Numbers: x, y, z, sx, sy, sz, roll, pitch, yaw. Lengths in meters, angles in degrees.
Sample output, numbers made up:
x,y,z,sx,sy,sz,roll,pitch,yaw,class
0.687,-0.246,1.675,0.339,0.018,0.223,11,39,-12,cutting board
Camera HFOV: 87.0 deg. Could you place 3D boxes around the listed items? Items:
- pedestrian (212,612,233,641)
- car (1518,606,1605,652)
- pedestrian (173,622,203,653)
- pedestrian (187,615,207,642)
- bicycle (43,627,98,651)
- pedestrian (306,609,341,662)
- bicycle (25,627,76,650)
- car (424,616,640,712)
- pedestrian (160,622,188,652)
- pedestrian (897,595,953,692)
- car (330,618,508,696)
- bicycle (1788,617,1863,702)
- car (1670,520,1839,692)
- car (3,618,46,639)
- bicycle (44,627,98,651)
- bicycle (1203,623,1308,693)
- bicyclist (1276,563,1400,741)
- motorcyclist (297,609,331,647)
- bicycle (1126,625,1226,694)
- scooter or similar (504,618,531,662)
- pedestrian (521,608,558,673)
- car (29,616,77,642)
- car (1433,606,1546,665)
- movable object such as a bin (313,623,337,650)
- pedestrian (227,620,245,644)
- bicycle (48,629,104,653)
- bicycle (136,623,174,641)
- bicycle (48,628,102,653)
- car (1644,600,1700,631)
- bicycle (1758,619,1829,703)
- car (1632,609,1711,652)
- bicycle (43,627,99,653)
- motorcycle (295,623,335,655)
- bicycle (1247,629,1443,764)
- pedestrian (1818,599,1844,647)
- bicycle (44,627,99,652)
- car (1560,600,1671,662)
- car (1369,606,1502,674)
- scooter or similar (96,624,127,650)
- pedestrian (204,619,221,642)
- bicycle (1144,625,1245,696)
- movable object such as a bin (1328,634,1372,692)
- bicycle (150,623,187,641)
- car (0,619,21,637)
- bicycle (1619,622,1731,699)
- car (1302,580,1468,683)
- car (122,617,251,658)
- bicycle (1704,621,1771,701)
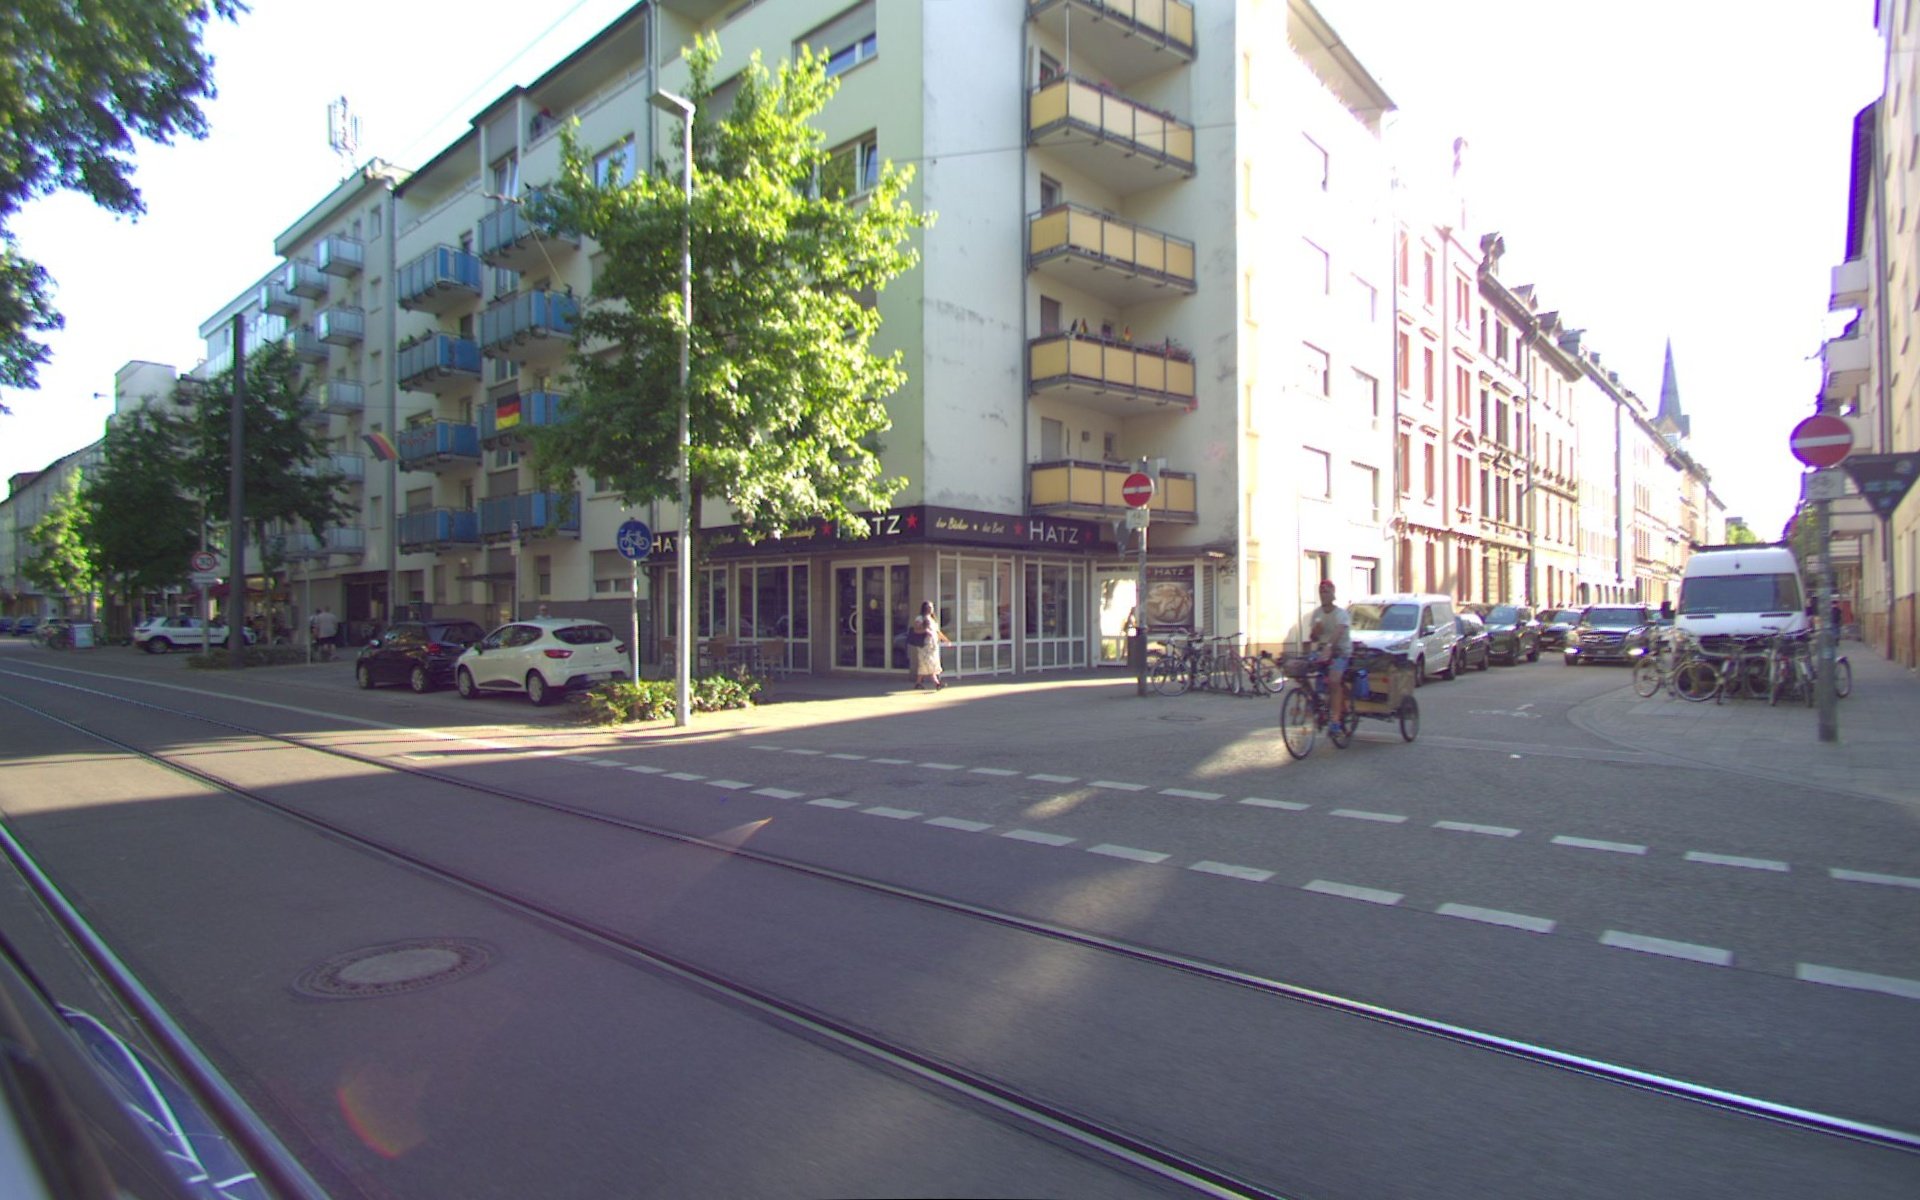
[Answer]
x,y,z,sx,sy,sz,roll,pitch,yaw,class
-42.549,1.522,58.358,0.747,1.672,0.760,-1,-2,34,pedestrian
21.359,0.990,35.895,2.028,1.511,3.905,-1,-1,40,car
-32.949,1.576,43.210,0.907,1.307,0.708,-1,-1,27,pedestrian
-44.632,1.636,59.210,0.767,1.568,0.718,-1,-2,36,pedestrian
-41.032,1.799,46.678,0.657,1.015,1.813,-1,0,36,bicycle
-20.868,1.148,33.174,0.794,1.704,0.756,-1,-1,40,pedestrian
-42.772,1.816,47.607,0.657,1.015,1.676,-1,0,36,bicycle
-7.963,1.087,18.675,4.370,1.475,1.697,-1,2,37,car
-34.054,1.587,43.826,0.744,1.307,0.708,-1,-1,27,pedestrian
-0.631,0.778,18.281,0.748,1.704,0.657,-1,-1,40,pedestrian
-11.583,1.149,21.606,3.990,1.475,1.699,-1,0,34,car
12.693,0.856,14.882,0.582,1.165,1.735,-1,-3,32,bicycle
14.988,0.125,19.091,2.168,2.744,5.750,-1,-1,39,car
-70.843,2.145,76.638,4.387,1.556,1.935,-1,-2,41,car
-41.304,1.801,47.039,0.657,1.015,1.813,-1,0,36,bicycle
5.169,1.005,17.666,1.917,1.165,0.574,2,-3,-29,bicycle
3.881,0.506,10.383,0.908,1.717,0.862,-1,-1,44,bicyclist
-24.856,1.076,38.950,1.016,1.451,0.864,-1,-2,42,motorcyclist
3.821,1.041,17.802,1.918,1.165,0.573,2,-3,-35,bicycle
-13.283,1.201,30.374,0.370,1.299,1.238,3,-3,-41,scooter or similar
-11.286,1.077,27.146,0.748,1.704,0.657,-1,-1,40,pedestrian
-61.658,1.956,68.765,4.355,1.663,1.859,-1,1,40,car
14.784,0.931,28.163,2.028,1.511,3.906,-1,-1,40,car
-25.946,1.491,41.335,0.622,1.063,0.670,-1,-2,43,movable object such as a bin
-36.894,1.644,51.558,0.558,1.207,0.511,0,-1,12,pedestrian
-39.716,1.831,45.483,0.657,1.015,1.813,-1,0,36,bicycle
-53.011,2.107,66.661,0.567,1.165,2.025,-1,-1,19,bicycle
-38.845,1.783,44.423,0.657,1.015,1.676,-1,0,36,bicycle
36.798,0.808,52.276,2.028,1.511,3.905,-1,-1,40,car
12.412,0.892,15.104,0.582,1.165,1.735,-1,-3,32,bicycle
26.960,1.122,38.296,2.029,1.511,3.904,-1,-1,41,car
-40.369,1.794,45.969,0.657,1.072,1.813,-1,0,36,bicycle
-24.806,1.481,38.915,1.915,1.173,0.840,-1,-2,43,motorcycle
4.103,0.927,10.614,0.921,1.165,2.764,-1,-1,44,bicycle
32.453,0.860,37.706,0.655,1.751,0.762,-1,-1,38,pedestrian
-40.569,1.795,46.227,0.657,1.015,1.813,-1,0,36,bicycle
17.488,0.794,26.922,2.028,1.511,3.906,-1,-1,40,car
11.601,0.906,24.579,2.027,1.511,3.906,-1,-1,39,car
-40.077,1.741,47.810,0.498,1.185,1.069,-1,0,39,scooter or similar
-40.033,1.622,54.186,0.560,1.207,0.509,-1,-1,25,pedestrian
4.063,1.029,17.464,1.918,1.165,0.573,2,-3,-35,bicycle
6.952,1.112,18.039,0.638,0.980,0.589,-1,-1,30,movable object such as a bin
-51.610,2.084,66.000,1.759,1.165,0.574,0,-1,-18,bicycle
-79.385,2.336,83.915,4.280,1.475,1.776,-1,-2,41,car
11.531,0.961,16.379,0.575,1.165,1.604,1,-2,-4,bicycle
8.817,0.597,20.734,2.035,1.836,4.830,-1,-1,37,car
-31.645,1.496,41.460,1.852,1.486,3.968,-1,0,43,car
11.961,0.925,15.560,1.728,1.165,0.585,3,-3,-45,bicycle
